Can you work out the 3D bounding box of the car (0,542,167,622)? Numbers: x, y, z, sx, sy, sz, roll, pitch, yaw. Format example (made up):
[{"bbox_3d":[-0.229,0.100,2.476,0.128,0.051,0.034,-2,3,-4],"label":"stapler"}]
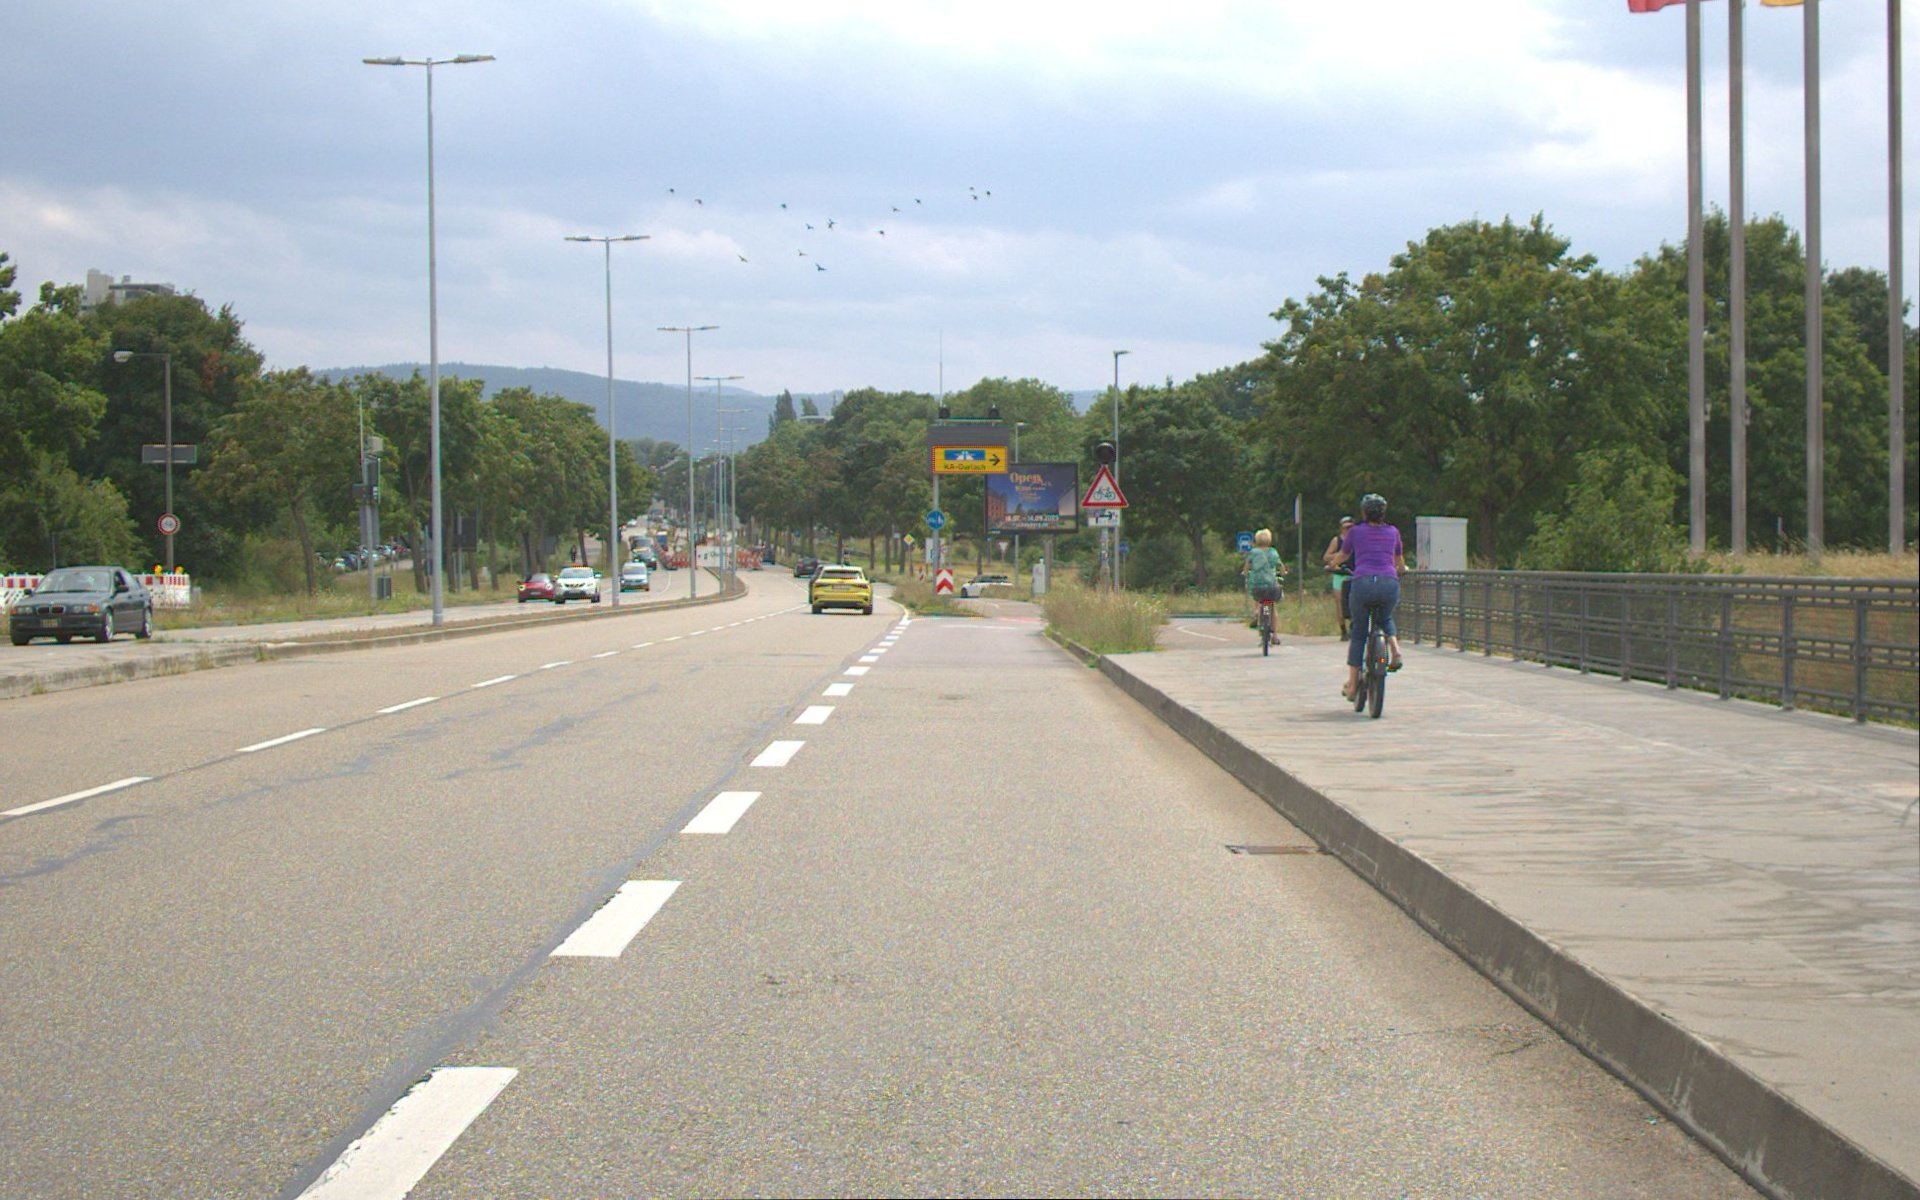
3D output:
[{"bbox_3d":[-16.108,-0.337,62.648,1.994,1.369,4.576,-1,1,3],"label":"car"}]

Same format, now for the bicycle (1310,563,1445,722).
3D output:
[{"bbox_3d":[3.342,0.315,27.698,0.693,1.188,2.461,0,1,-2],"label":"bicycle"}]

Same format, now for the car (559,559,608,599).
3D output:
[{"bbox_3d":[-16.634,-0.943,151.981,1.694,1.623,4.384,0,2,0],"label":"car"}]

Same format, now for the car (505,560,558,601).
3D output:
[{"bbox_3d":[-21.301,-0.948,171.024,1.993,1.875,4.000,5,0,0],"label":"car"}]

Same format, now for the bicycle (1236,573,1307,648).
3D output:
[{"bbox_3d":[4.011,0.123,44.384,0.623,0.885,2.155,0,2,-2],"label":"bicycle"}]

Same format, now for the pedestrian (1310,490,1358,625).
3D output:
[{"bbox_3d":[5.597,-0.638,51.507,0.627,2.006,0.668,0,2,0],"label":"pedestrian"}]

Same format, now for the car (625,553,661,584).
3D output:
[{"bbox_3d":[-19.557,-1.952,212.136,1.902,1.803,4.540,0,2,-2],"label":"car"}]

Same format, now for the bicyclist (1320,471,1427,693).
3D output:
[{"bbox_3d":[3.314,-0.155,27.630,0.703,1.749,0.991,0,1,-2],"label":"bicyclist"}]

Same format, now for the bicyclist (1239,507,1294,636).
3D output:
[{"bbox_3d":[3.999,-0.379,44.857,0.621,1.660,0.669,0,2,-2],"label":"bicyclist"}]

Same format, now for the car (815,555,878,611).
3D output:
[{"bbox_3d":[-3.434,-0.525,103.277,1.793,1.556,4.001,0,2,-3],"label":"car"}]
